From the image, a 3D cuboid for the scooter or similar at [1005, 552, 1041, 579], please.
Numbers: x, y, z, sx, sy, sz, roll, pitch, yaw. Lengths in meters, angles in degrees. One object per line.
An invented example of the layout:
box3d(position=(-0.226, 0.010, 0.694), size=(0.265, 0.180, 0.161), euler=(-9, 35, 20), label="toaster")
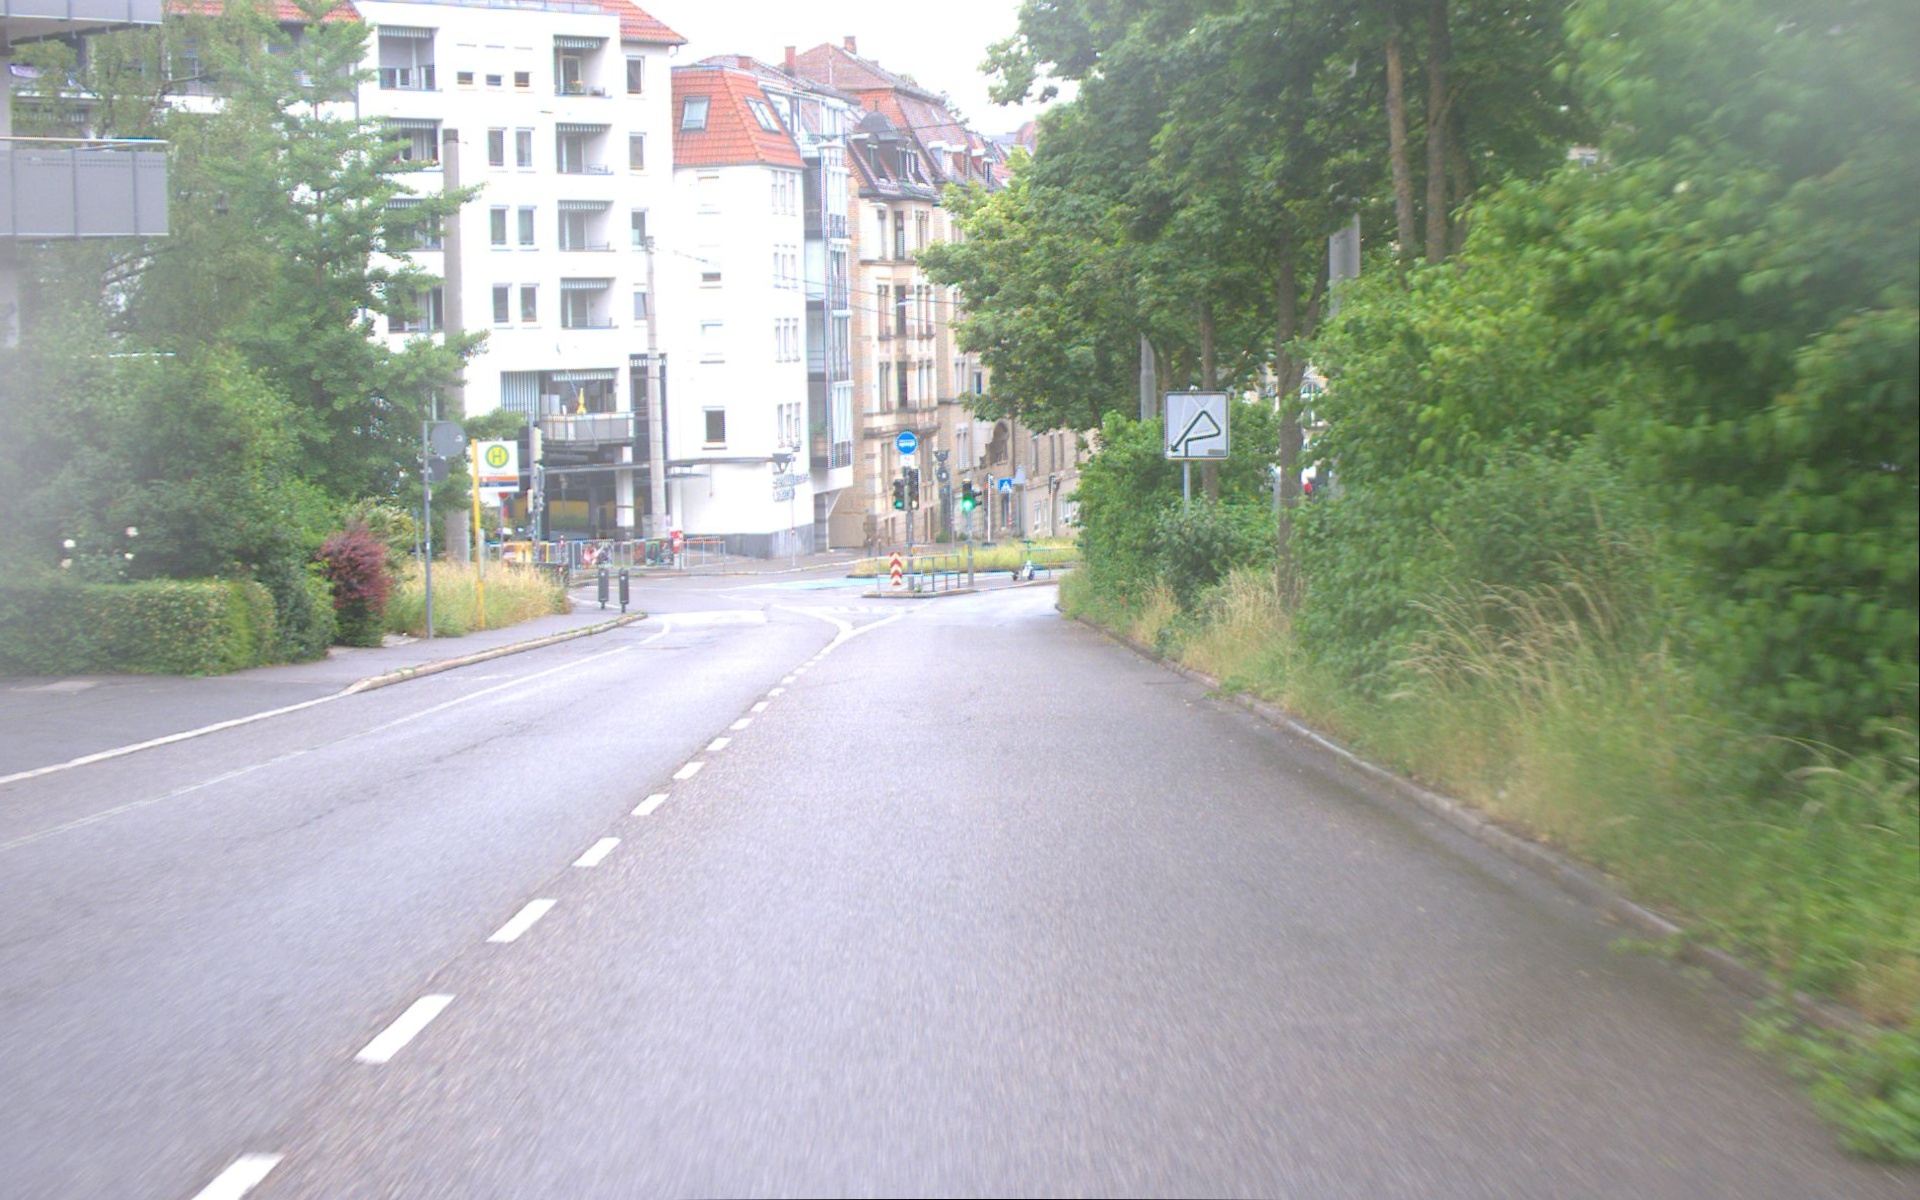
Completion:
box3d(position=(1.841, -1.006, 99.644), size=(0.485, 0.759, 1.328), euler=(-1, 1, 28), label="scooter or similar")
